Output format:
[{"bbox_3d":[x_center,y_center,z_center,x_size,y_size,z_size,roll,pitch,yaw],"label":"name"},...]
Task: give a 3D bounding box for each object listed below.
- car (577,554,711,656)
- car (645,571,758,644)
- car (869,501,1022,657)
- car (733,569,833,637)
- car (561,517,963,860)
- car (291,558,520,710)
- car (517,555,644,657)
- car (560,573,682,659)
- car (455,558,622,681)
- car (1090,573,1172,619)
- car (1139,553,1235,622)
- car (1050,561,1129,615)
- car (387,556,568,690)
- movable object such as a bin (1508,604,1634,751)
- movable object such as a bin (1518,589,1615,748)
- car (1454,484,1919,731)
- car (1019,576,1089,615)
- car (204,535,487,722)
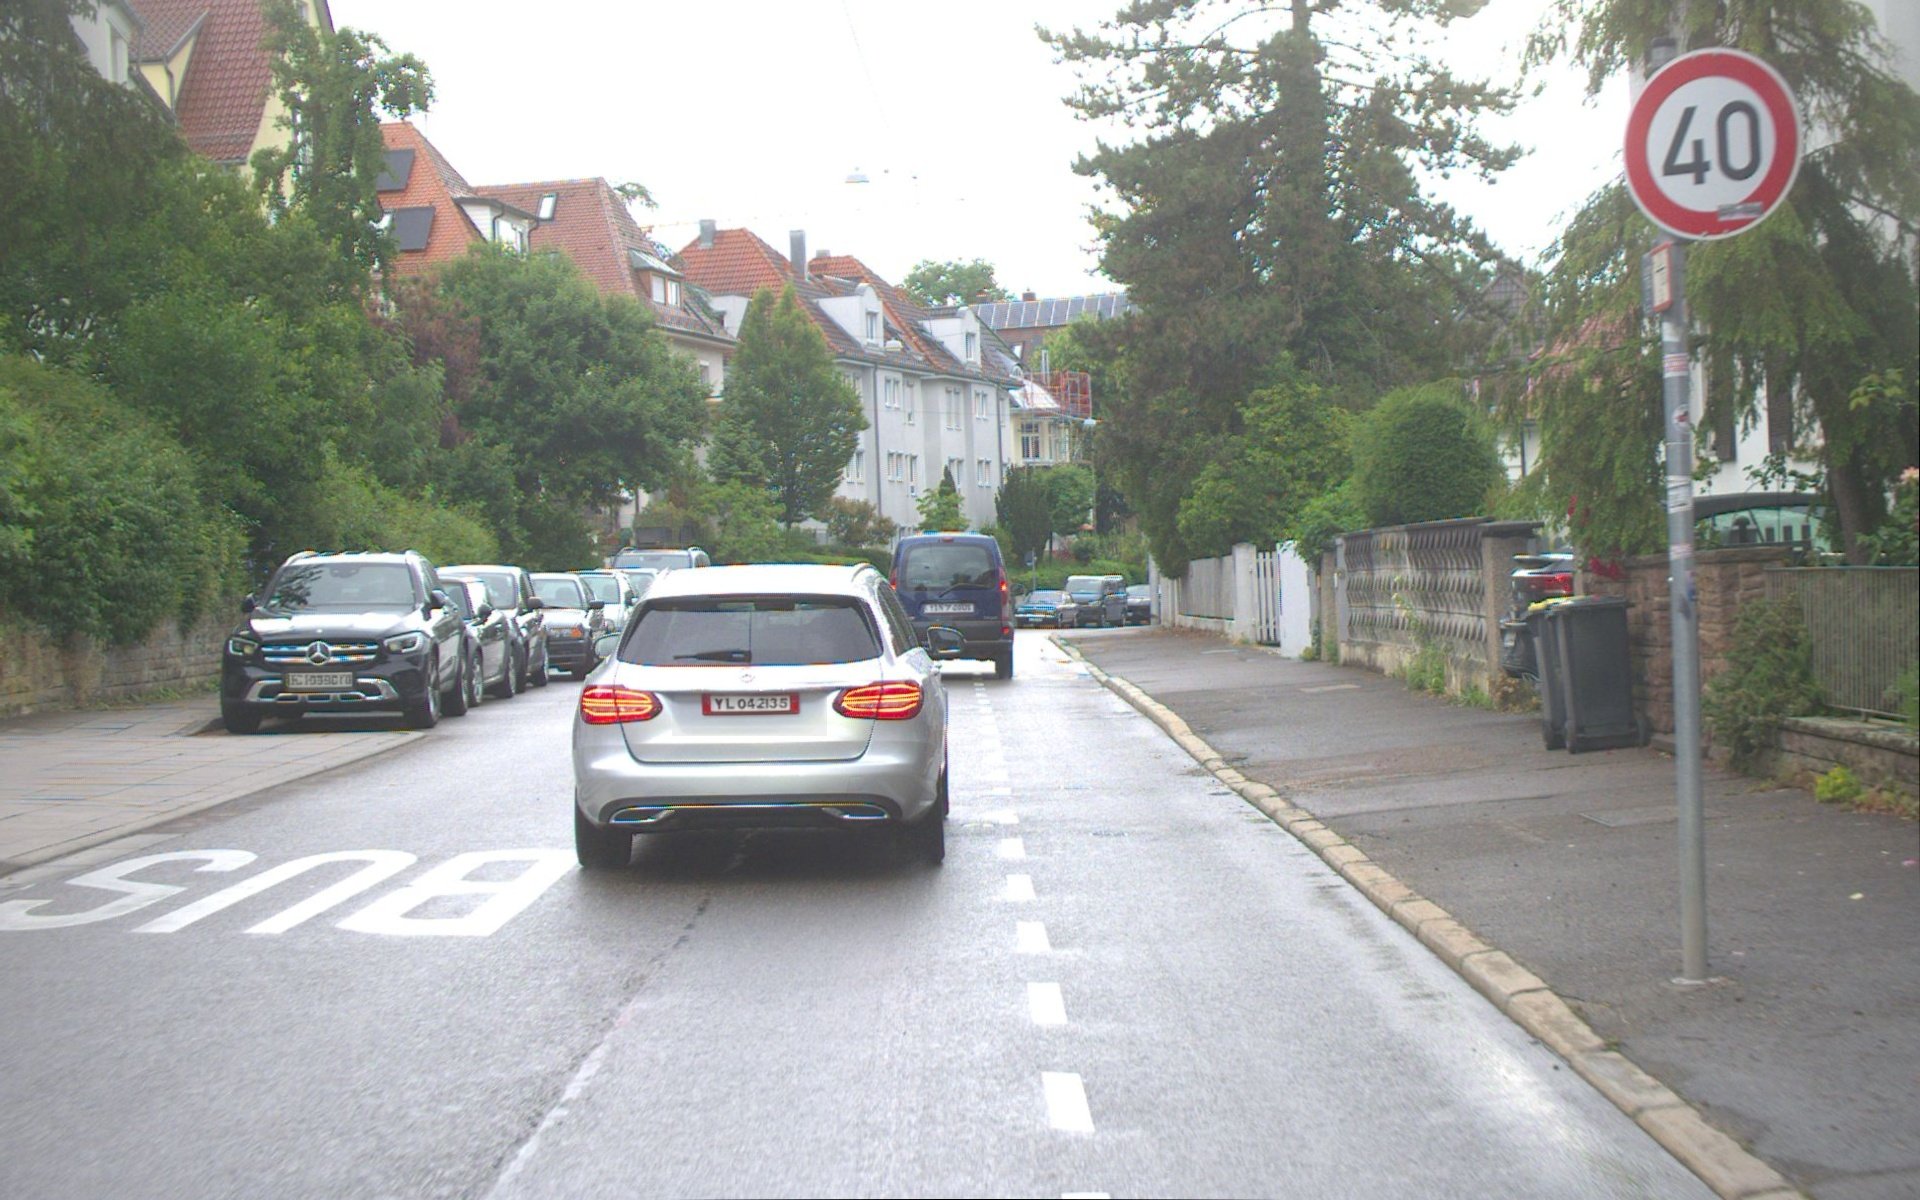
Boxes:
[{"bbox_3d":[-6.025,0.065,66.157,1.993,1.872,5.356,0,1,1],"label":"car"},{"bbox_3d":[-5.891,0.142,78.850,1.994,1.575,4.761,2,1,3],"label":"car"},{"bbox_3d":[-0.227,-0.252,44.084,1.843,1.897,4.000,0,0,-2],"label":"car"},{"bbox_3d":[-4.635,0.062,90.687,1.994,1.696,4.738,2,1,5],"label":"car"},{"bbox_3d":[-0.987,0.375,17.613,1.816,1.551,4.000,0,1,-3],"label":"car"},{"bbox_3d":[-5.970,0.326,37.420,1.893,1.442,3.814,-1,2,-1],"label":"car"},{"bbox_3d":[-5.997,0.066,54.666,1.646,1.442,3.628,-1,2,-1],"label":"car"},{"bbox_3d":[-5.905,0.258,60.191,1.694,1.442,3.814,-1,0,0],"label":"car"},{"bbox_3d":[-5.673,0.222,46.728,1.756,1.442,4.417,-1,2,-1],"label":"car"},{"bbox_3d":[7.034,-0.169,141.014,1.995,1.682,4.672,0,2,21],"label":"car"},{"bbox_3d":[9.812,-0.584,148.087,2.393,2.762,6.525,0,2,20],"label":"car"},{"bbox_3d":[5.102,-0.465,134.573,1.831,2.049,5.005,0,0,17],"label":"car"},{"bbox_3d":[-5.827,0.240,41.863,1.696,1.536,3.814,-1,1,-1],"label":"car"},{"bbox_3d":[3.700,0.466,20.839,0.651,0.852,0.503,-1,2,-2],"label":"movable object such as a bin"},{"bbox_3d":[3.770,0.420,21.380,0.494,0.952,0.503,-1,2,-2],"label":"movable object such as a bin"},{"bbox_3d":[5.669,0.019,24.533,3.987,1.634,1.918,-1,2,0],"label":"car"},{"bbox_3d":[3.567,-0.180,129.314,1.644,1.412,4.609,0,1,15],"label":"car"},{"bbox_3d":[-5.663,0.216,32.188,1.893,1.617,4.379,-1,1,-1],"label":"car"}]
